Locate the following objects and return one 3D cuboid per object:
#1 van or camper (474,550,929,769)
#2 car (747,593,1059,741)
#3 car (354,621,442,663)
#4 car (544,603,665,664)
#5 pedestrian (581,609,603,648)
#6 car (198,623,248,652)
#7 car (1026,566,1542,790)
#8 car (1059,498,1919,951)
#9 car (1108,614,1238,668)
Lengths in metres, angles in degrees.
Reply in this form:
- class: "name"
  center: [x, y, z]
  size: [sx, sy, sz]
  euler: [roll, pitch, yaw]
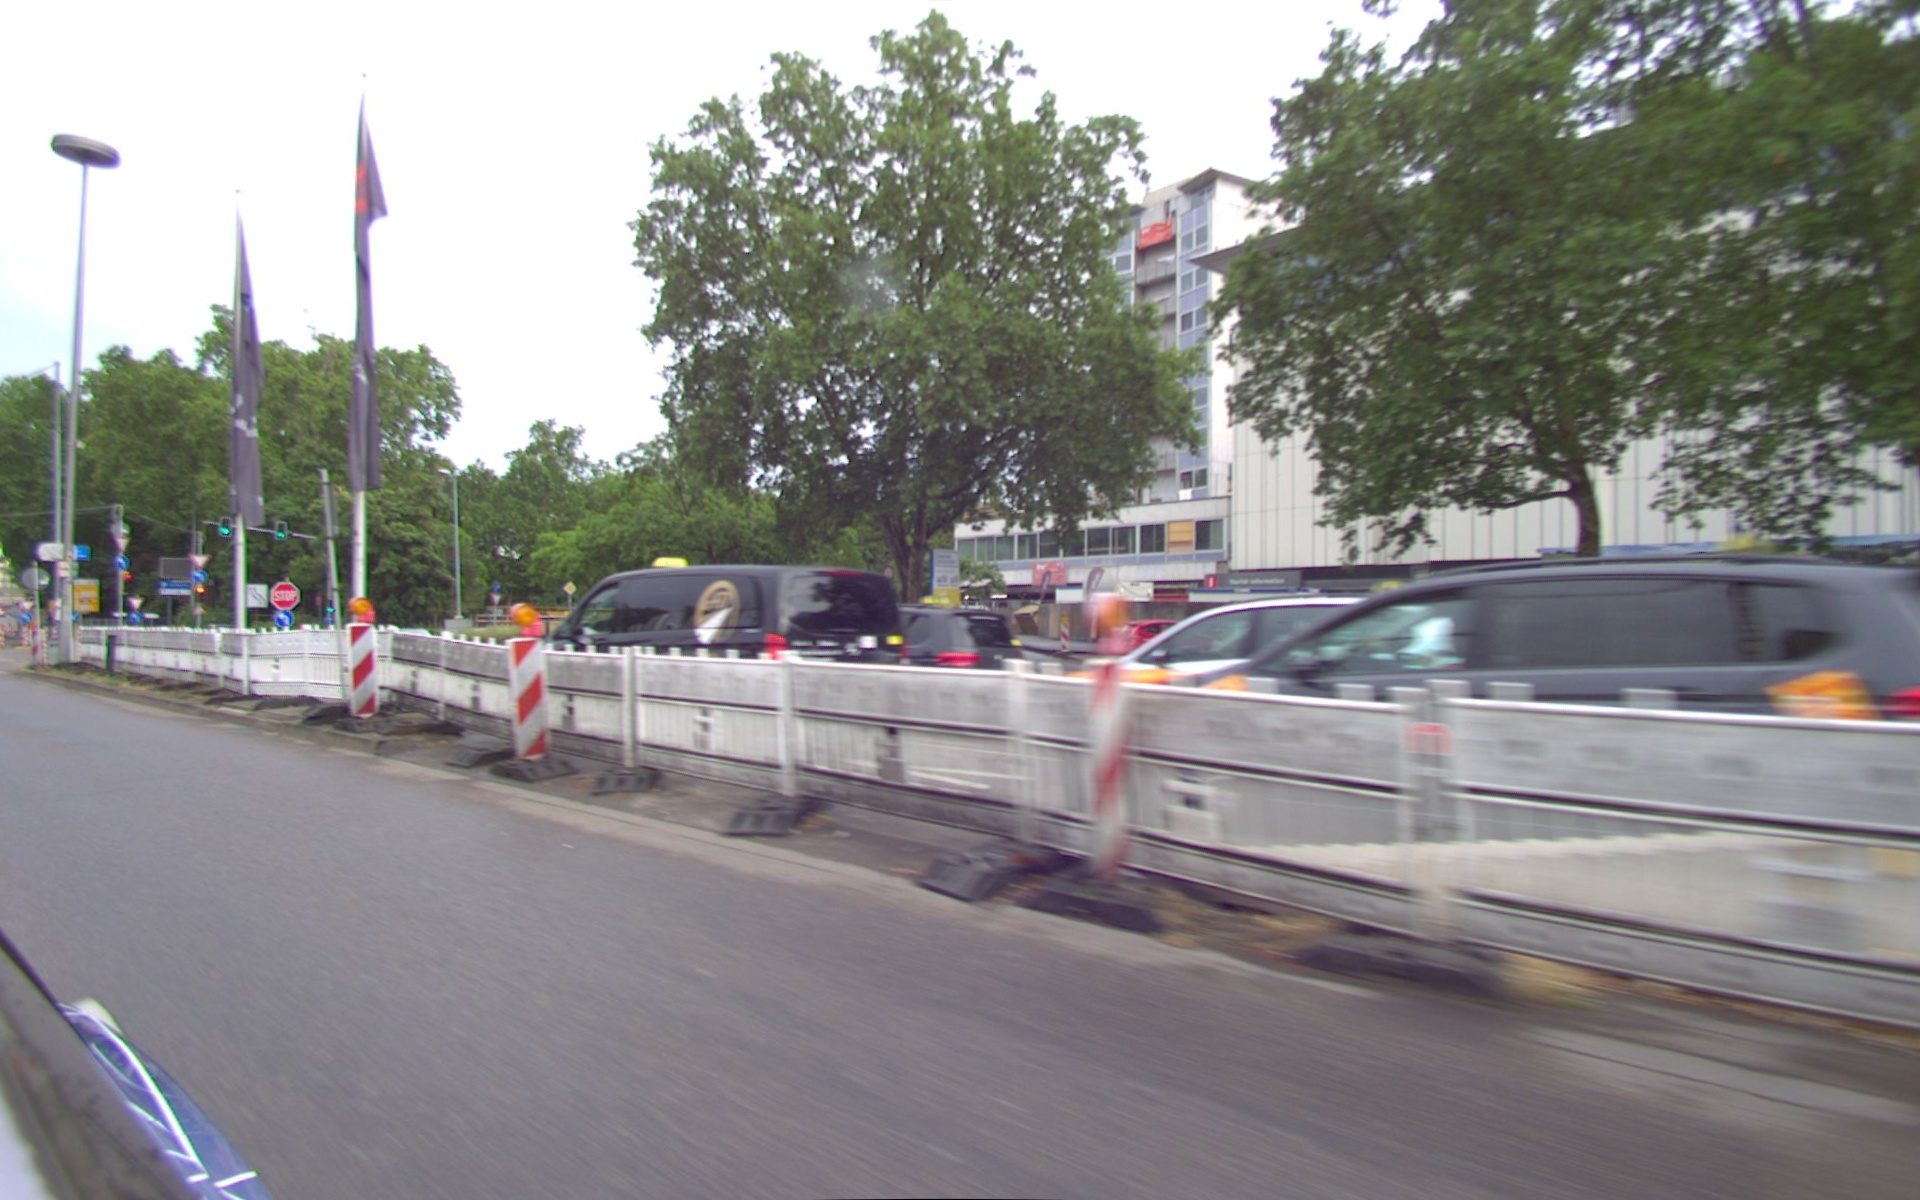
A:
- class: "van or camper"
  center: [-2.998, 0.608, 10.945]
  size: [5.386, 1.833, 1.926]
  euler: [-2, -4, 39]
- class: "car"
  center: [-0.917, 0.861, 13.925]
  size: [4.302, 1.715, 1.869]
  euler: [-3, -3, 44]
- class: "car"
  center: [-24.021, 1.800, 43.166]
  size: [4.819, 1.644, 1.971]
  euler: [-3, -1, 44]
- class: "car"
  center: [-11.029, 1.035, 31.221]
  size: [1.868, 1.715, 4.304]
  euler: [-1, -1, -44]
- class: "pedestrian"
  center: [-17.292, 1.336, 47.558]
  size: [0.950, 1.738, 0.551]
  euler: [-5, -4, 40]
- class: "car"
  center: [-41.300, 2.099, 56.696]
  size: [3.174, 1.554, 1.659]
  euler: [-1, -3, 44]
- class: "car"
  center: [2.972, 0.656, 9.946]
  size: [4.421, 1.715, 1.870]
  euler: [-3, -1, 43]
- class: "car"
  center: [3.095, 0.581, 6.046]
  size: [4.812, 1.784, 1.971]
  euler: [-3, -3, 44]
- class: "car"
  center: [6.870, 1.302, 32.838]
  size: [3.686, 1.554, 1.855]
  euler: [-1, 0, -7]
